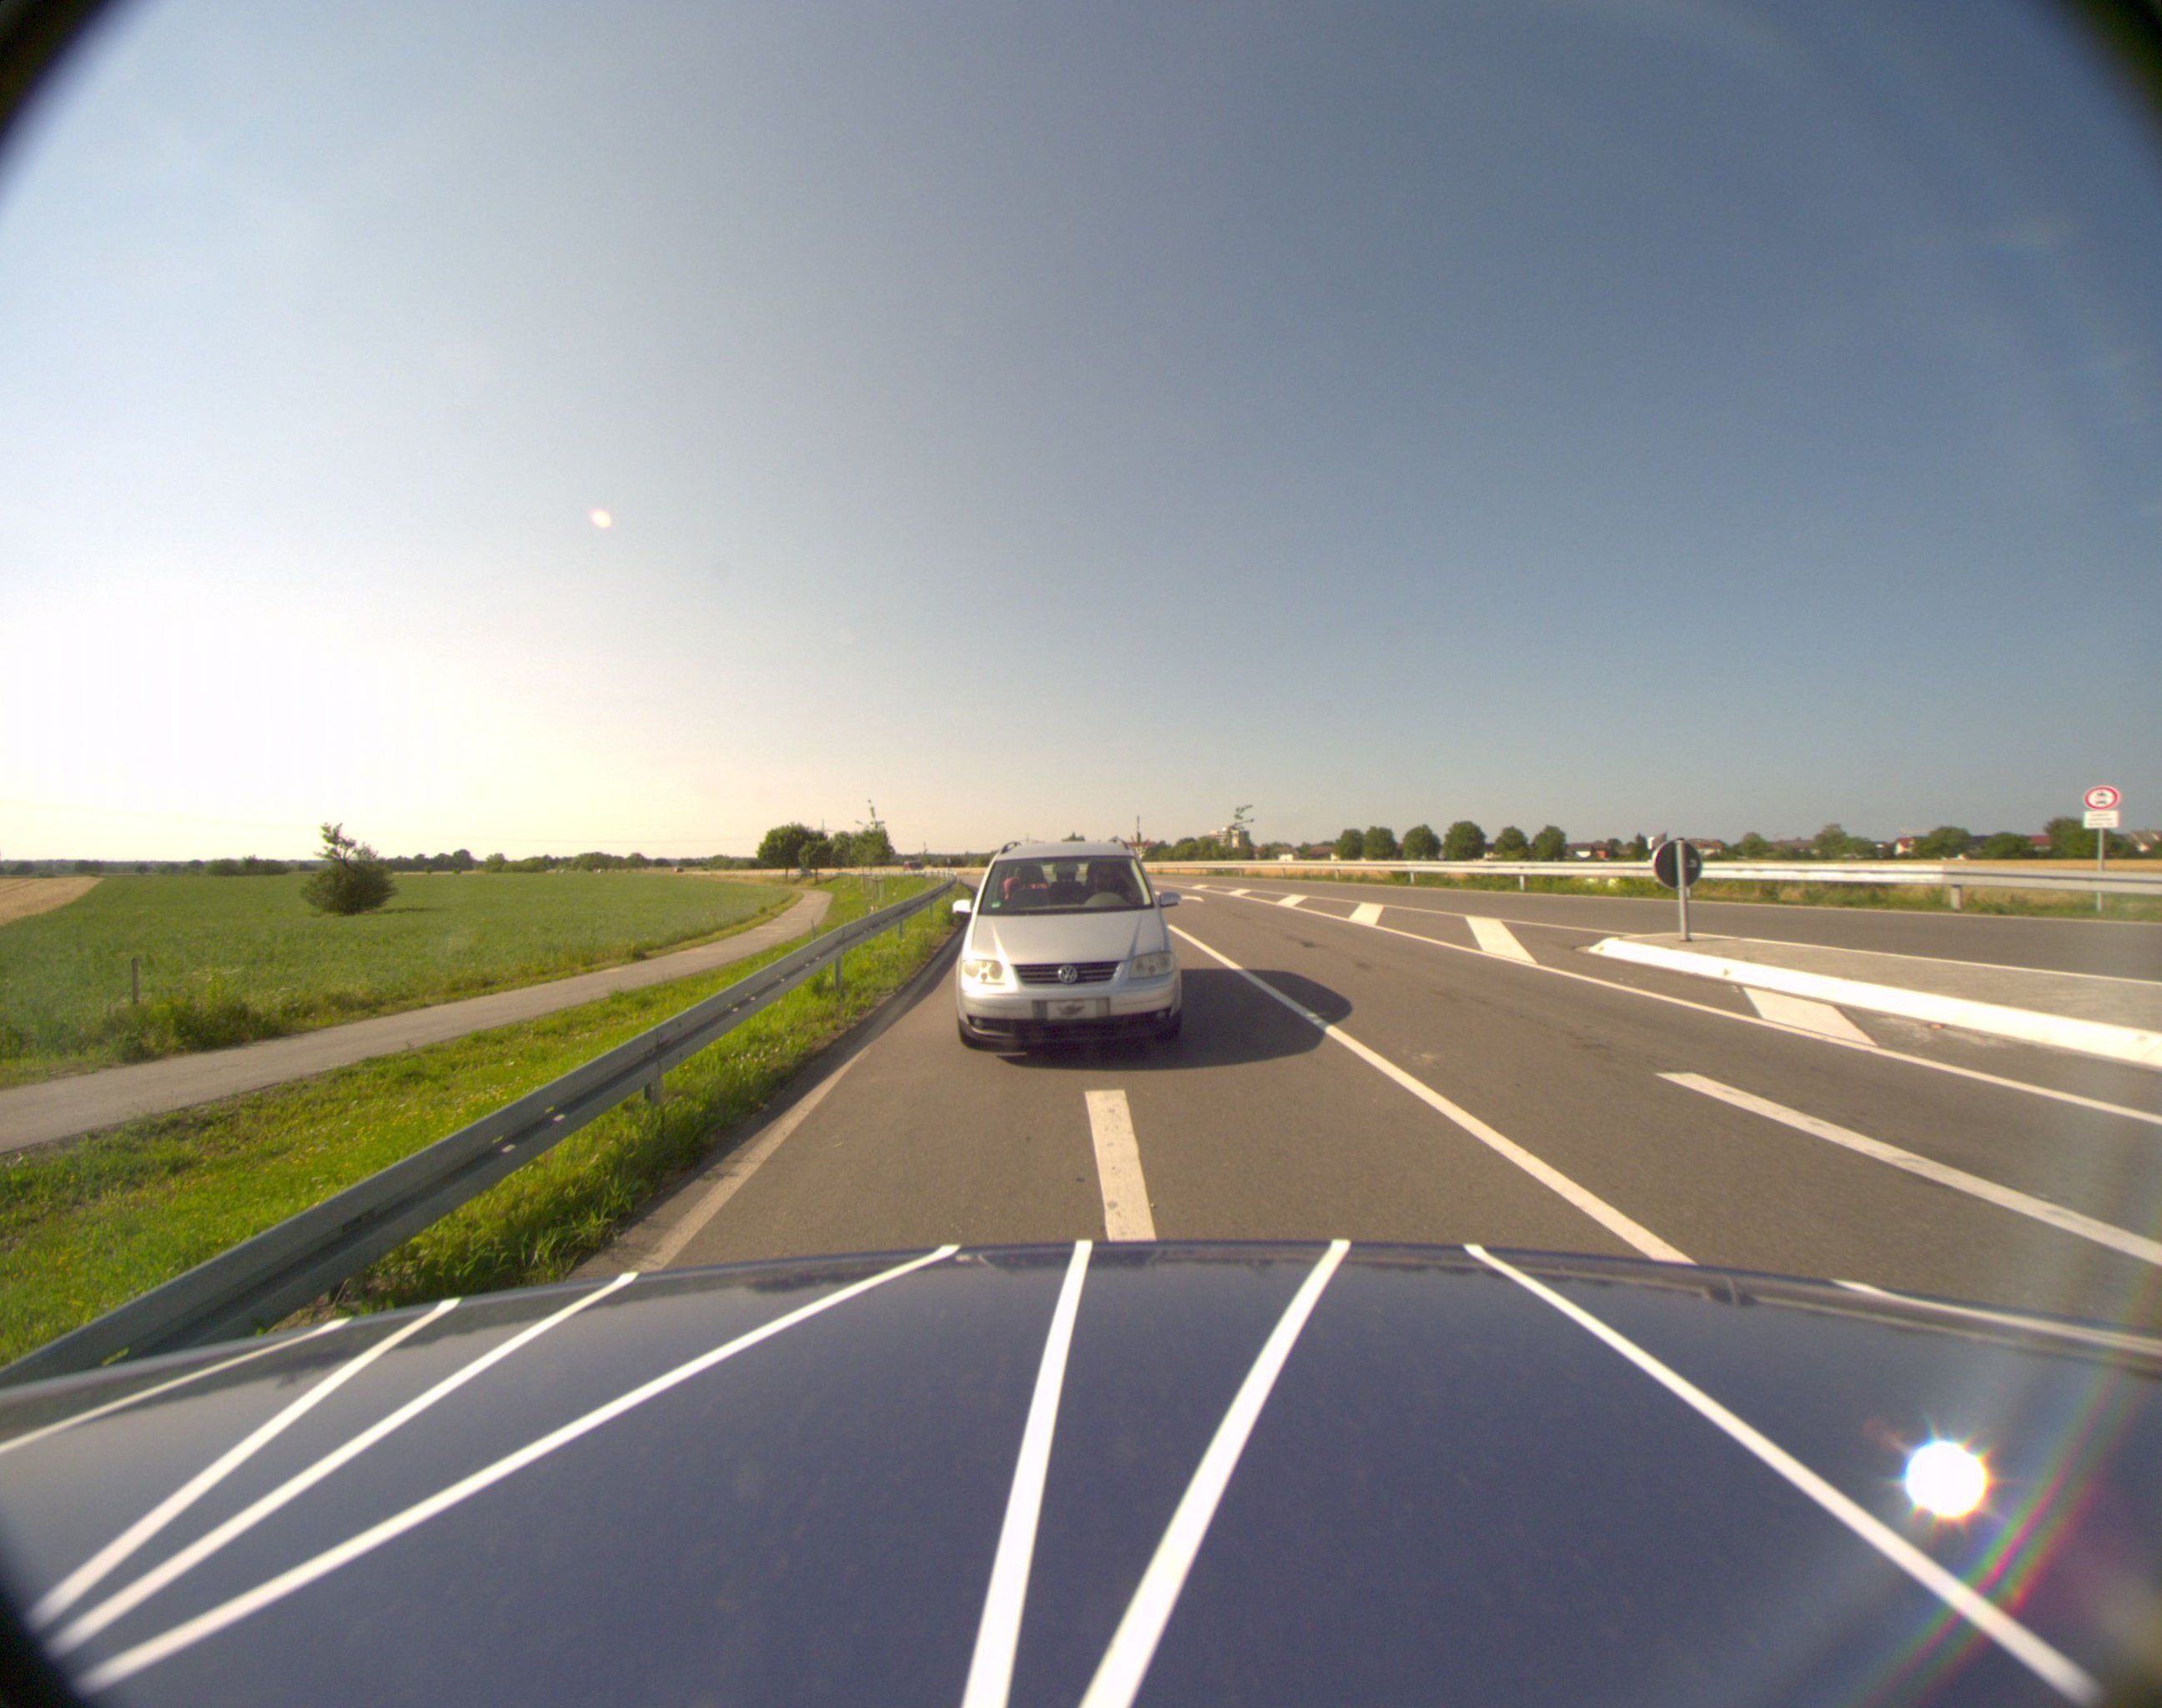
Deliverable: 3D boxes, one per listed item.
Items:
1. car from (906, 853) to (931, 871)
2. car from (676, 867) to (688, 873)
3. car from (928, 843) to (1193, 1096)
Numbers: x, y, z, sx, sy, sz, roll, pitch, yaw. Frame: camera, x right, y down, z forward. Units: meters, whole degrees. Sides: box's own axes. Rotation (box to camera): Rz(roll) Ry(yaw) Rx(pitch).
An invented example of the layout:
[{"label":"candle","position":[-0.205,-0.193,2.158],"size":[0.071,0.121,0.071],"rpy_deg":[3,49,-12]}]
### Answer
[{"label":"car","position":[-17.785,0.894,82.833],"size":[1.696,1.826,4.689],"rpy_deg":[-1,0,-24]},{"label":"car","position":[-111.579,4.397,212.449],"size":[3.989,1.663,1.818],"rpy_deg":[-1,1,42]},{"label":"car","position":[-0.100,0.770,7.305],"size":[1.755,1.685,4.214],"rpy_deg":[-2,1,1]}]
